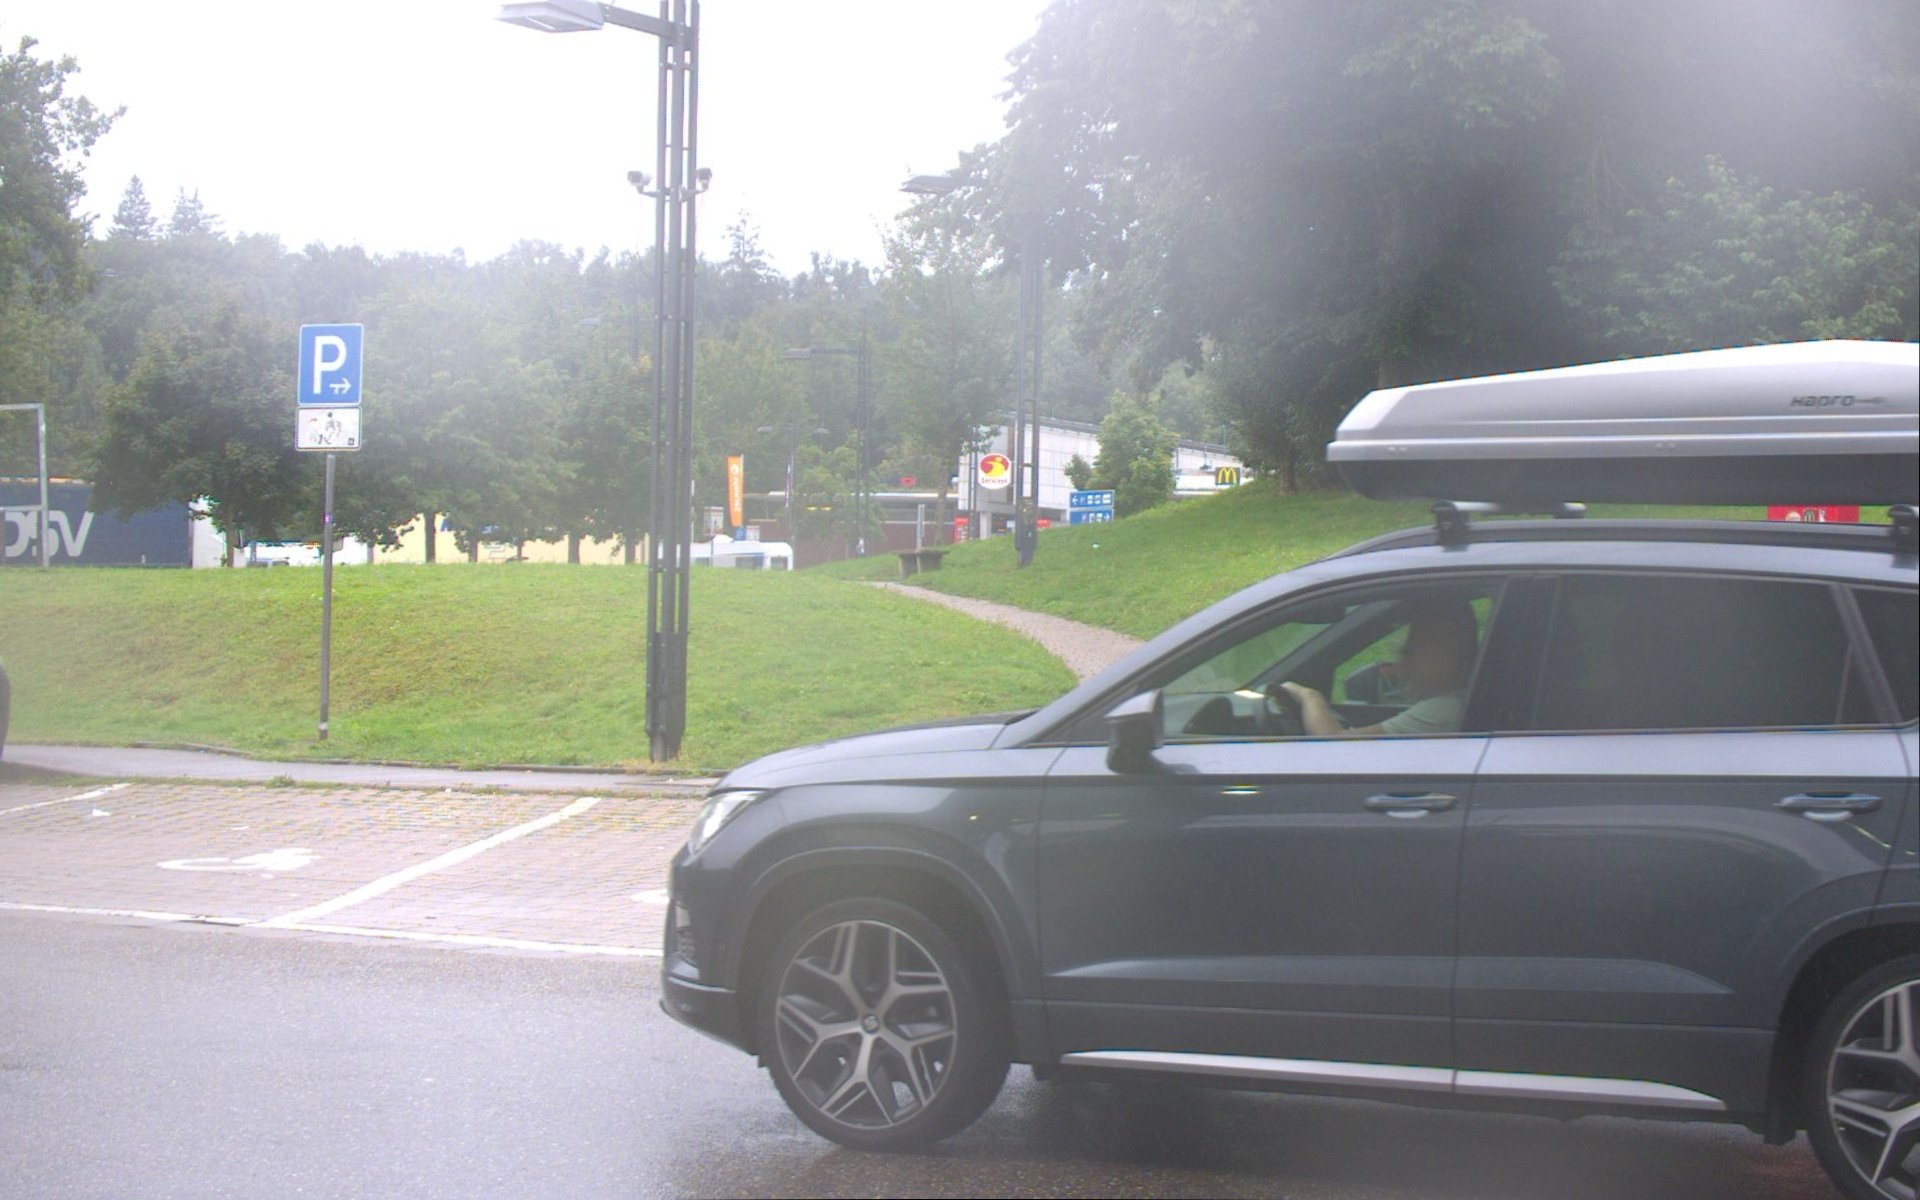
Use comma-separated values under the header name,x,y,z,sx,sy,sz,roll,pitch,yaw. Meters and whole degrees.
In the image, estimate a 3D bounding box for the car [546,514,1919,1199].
name,x,y,z,sx,sy,sz,roll,pitch,yaw
car,1.319,0.596,8.664,4.317,1.582,1.888,1,1,22

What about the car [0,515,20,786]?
name,x,y,z,sx,sy,sz,roll,pitch,yaw
car,-7.768,0.378,21.459,1.885,1.821,4.411,0,1,11

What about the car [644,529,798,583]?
name,x,y,z,sx,sy,sz,roll,pitch,yaw
car,-9.283,-1.728,133.672,5.429,2.007,2.453,1,1,20
